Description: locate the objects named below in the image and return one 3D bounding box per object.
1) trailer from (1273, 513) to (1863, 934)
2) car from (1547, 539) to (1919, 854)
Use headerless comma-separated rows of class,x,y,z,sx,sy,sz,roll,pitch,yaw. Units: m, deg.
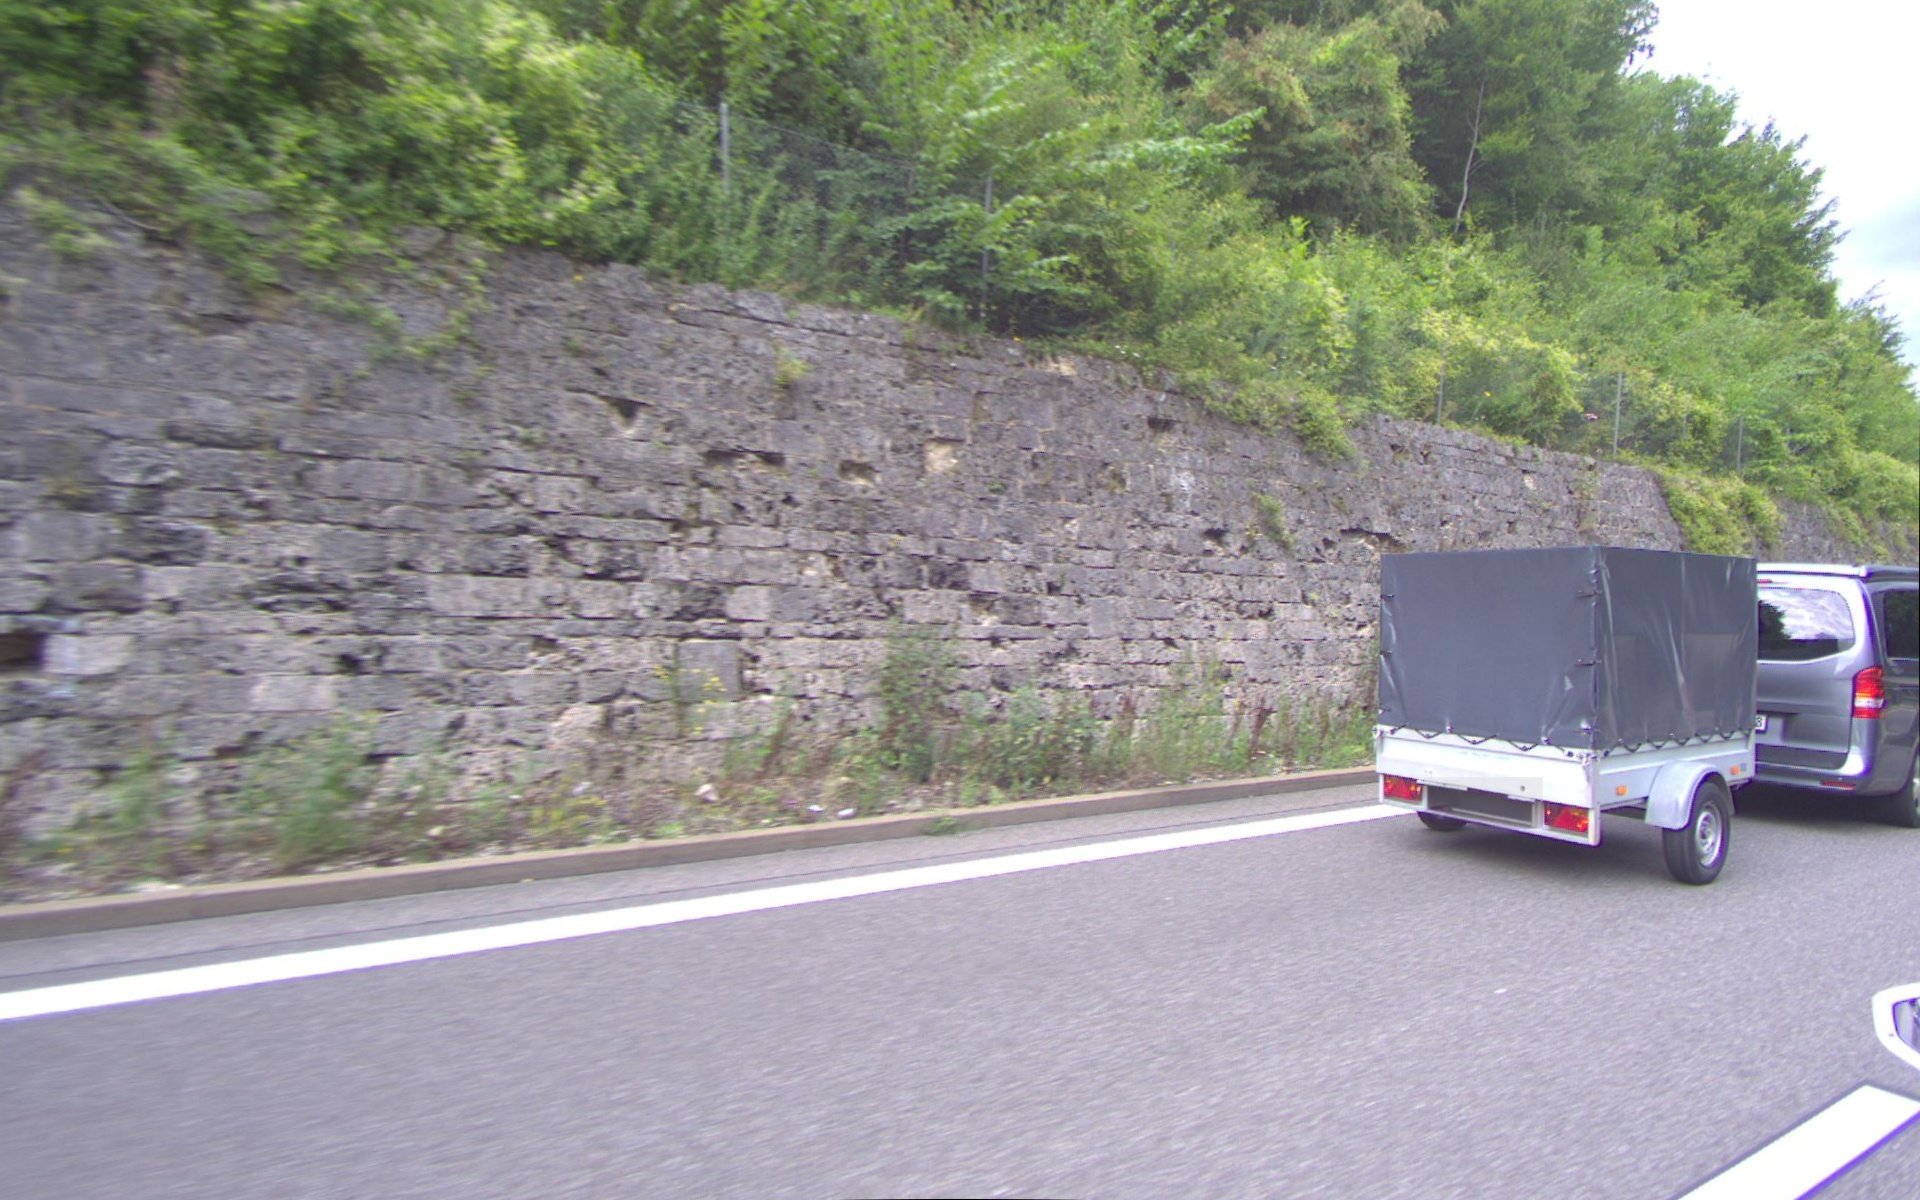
trailer,3.935,0.604,6.453,3.393,1.965,1.960,1,0,-33
car,7.617,0.670,8.847,5.480,2.040,1.982,1,0,-33
